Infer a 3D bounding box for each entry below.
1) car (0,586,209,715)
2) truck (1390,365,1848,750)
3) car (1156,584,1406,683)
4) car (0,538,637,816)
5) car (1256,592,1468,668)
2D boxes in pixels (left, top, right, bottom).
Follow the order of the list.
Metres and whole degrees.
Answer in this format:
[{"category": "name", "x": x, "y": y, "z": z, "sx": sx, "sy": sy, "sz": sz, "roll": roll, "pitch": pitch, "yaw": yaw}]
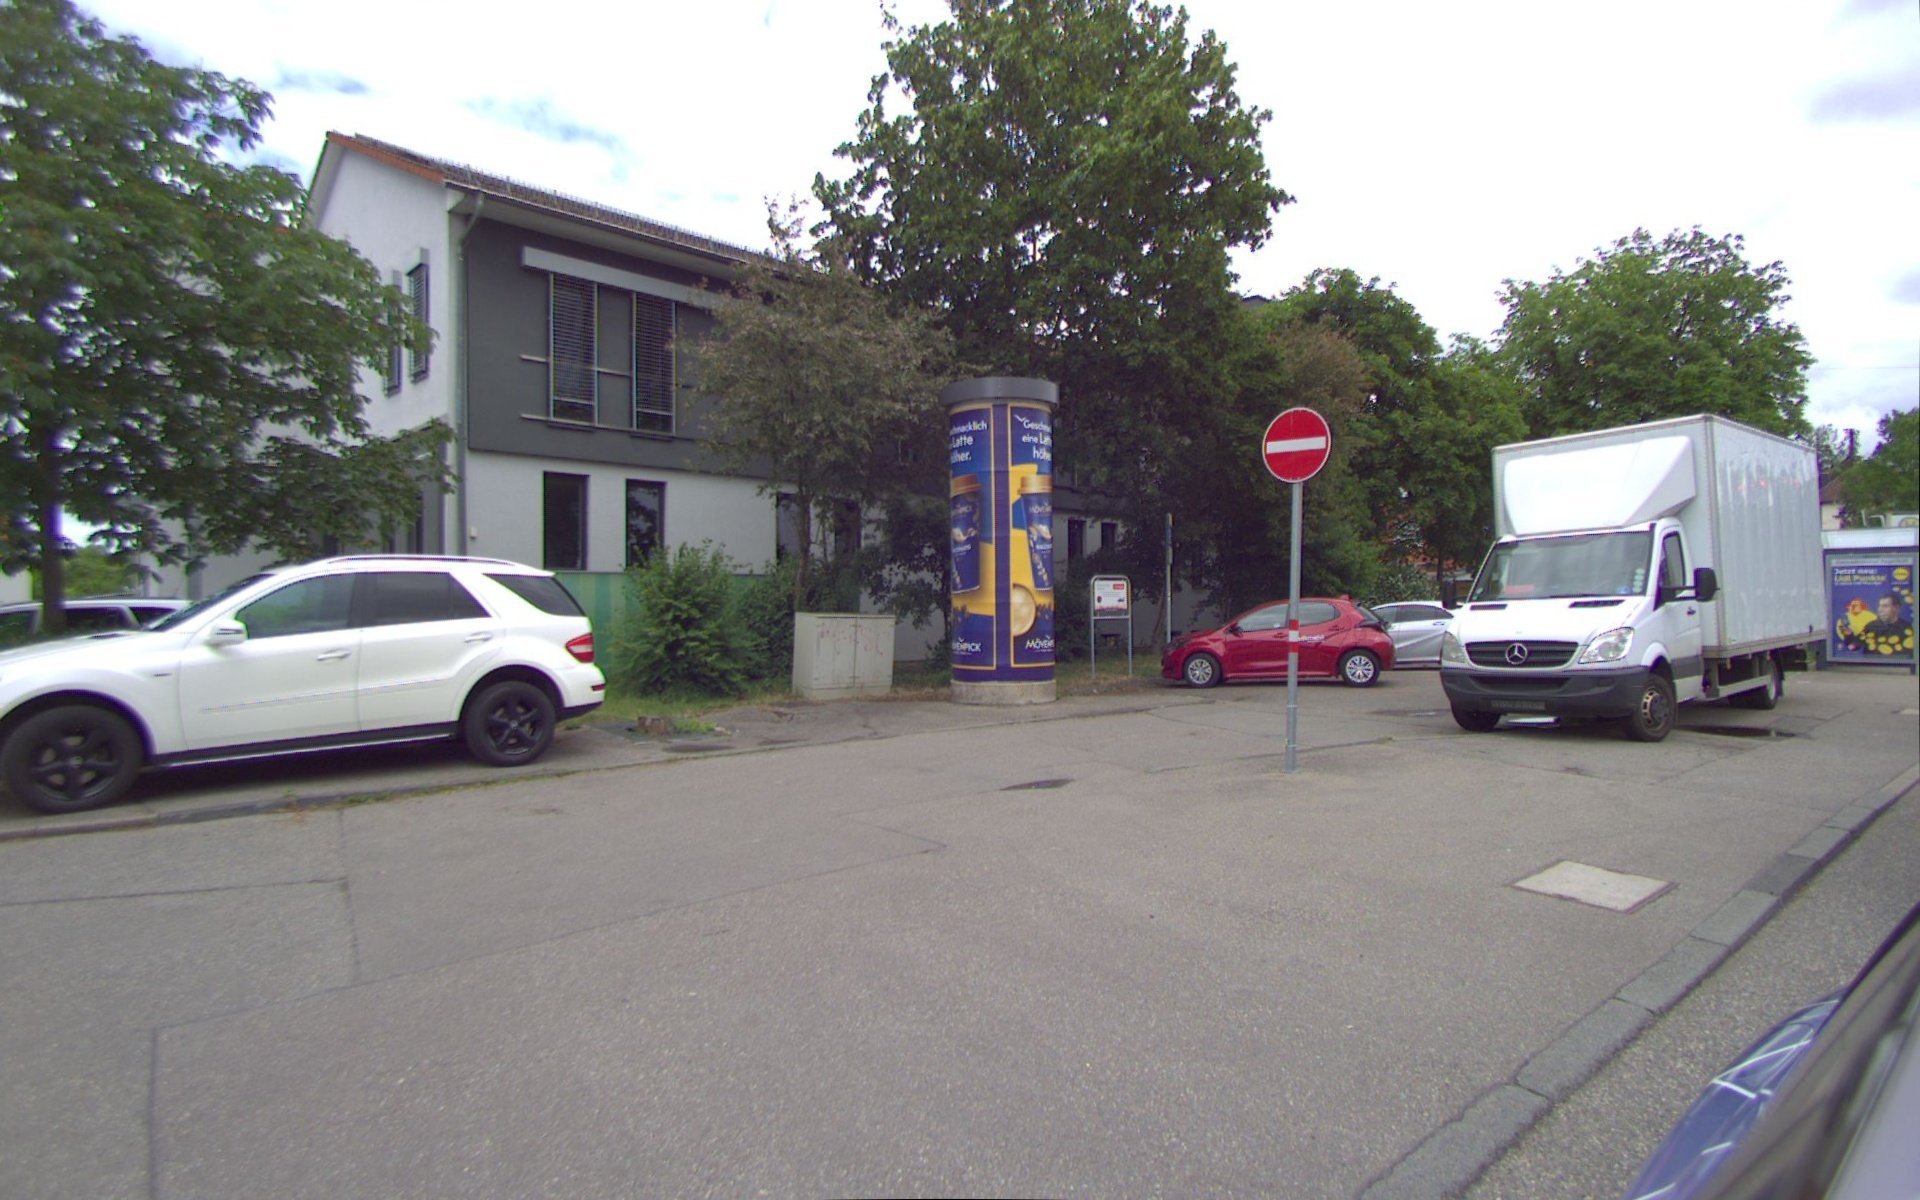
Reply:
[{"category": "car", "x": -12.209, "y": 0.633, "z": 12.780, "sx": 1.615, "sy": 1.502, "sz": 4.154, "roll": 0, "pitch": 2, "yaw": 43}, {"category": "truck", "x": 8.485, "y": -0.451, "z": 12.530, "sx": 7.637, "sy": 3.469, "sz": 2.540, "roll": -1, "pitch": 0, "yaw": -39}, {"category": "car", "x": 5.488, "y": 0.579, "z": 17.336, "sx": 3.857, "sy": 1.502, "sz": 1.669, "roll": -3, "pitch": -1, "yaw": 26}, {"category": "car", "x": -5.307, "y": 0.477, "z": 8.433, "sx": 4.639, "sy": 1.780, "sz": 1.855, "roll": -1, "pitch": 0, "yaw": -41}, {"category": "car", "x": 8.329, "y": 0.632, "z": 21.261, "sx": 3.947, "sy": 1.428, "sz": 1.515, "roll": -2, "pitch": -1, "yaw": 19}]
